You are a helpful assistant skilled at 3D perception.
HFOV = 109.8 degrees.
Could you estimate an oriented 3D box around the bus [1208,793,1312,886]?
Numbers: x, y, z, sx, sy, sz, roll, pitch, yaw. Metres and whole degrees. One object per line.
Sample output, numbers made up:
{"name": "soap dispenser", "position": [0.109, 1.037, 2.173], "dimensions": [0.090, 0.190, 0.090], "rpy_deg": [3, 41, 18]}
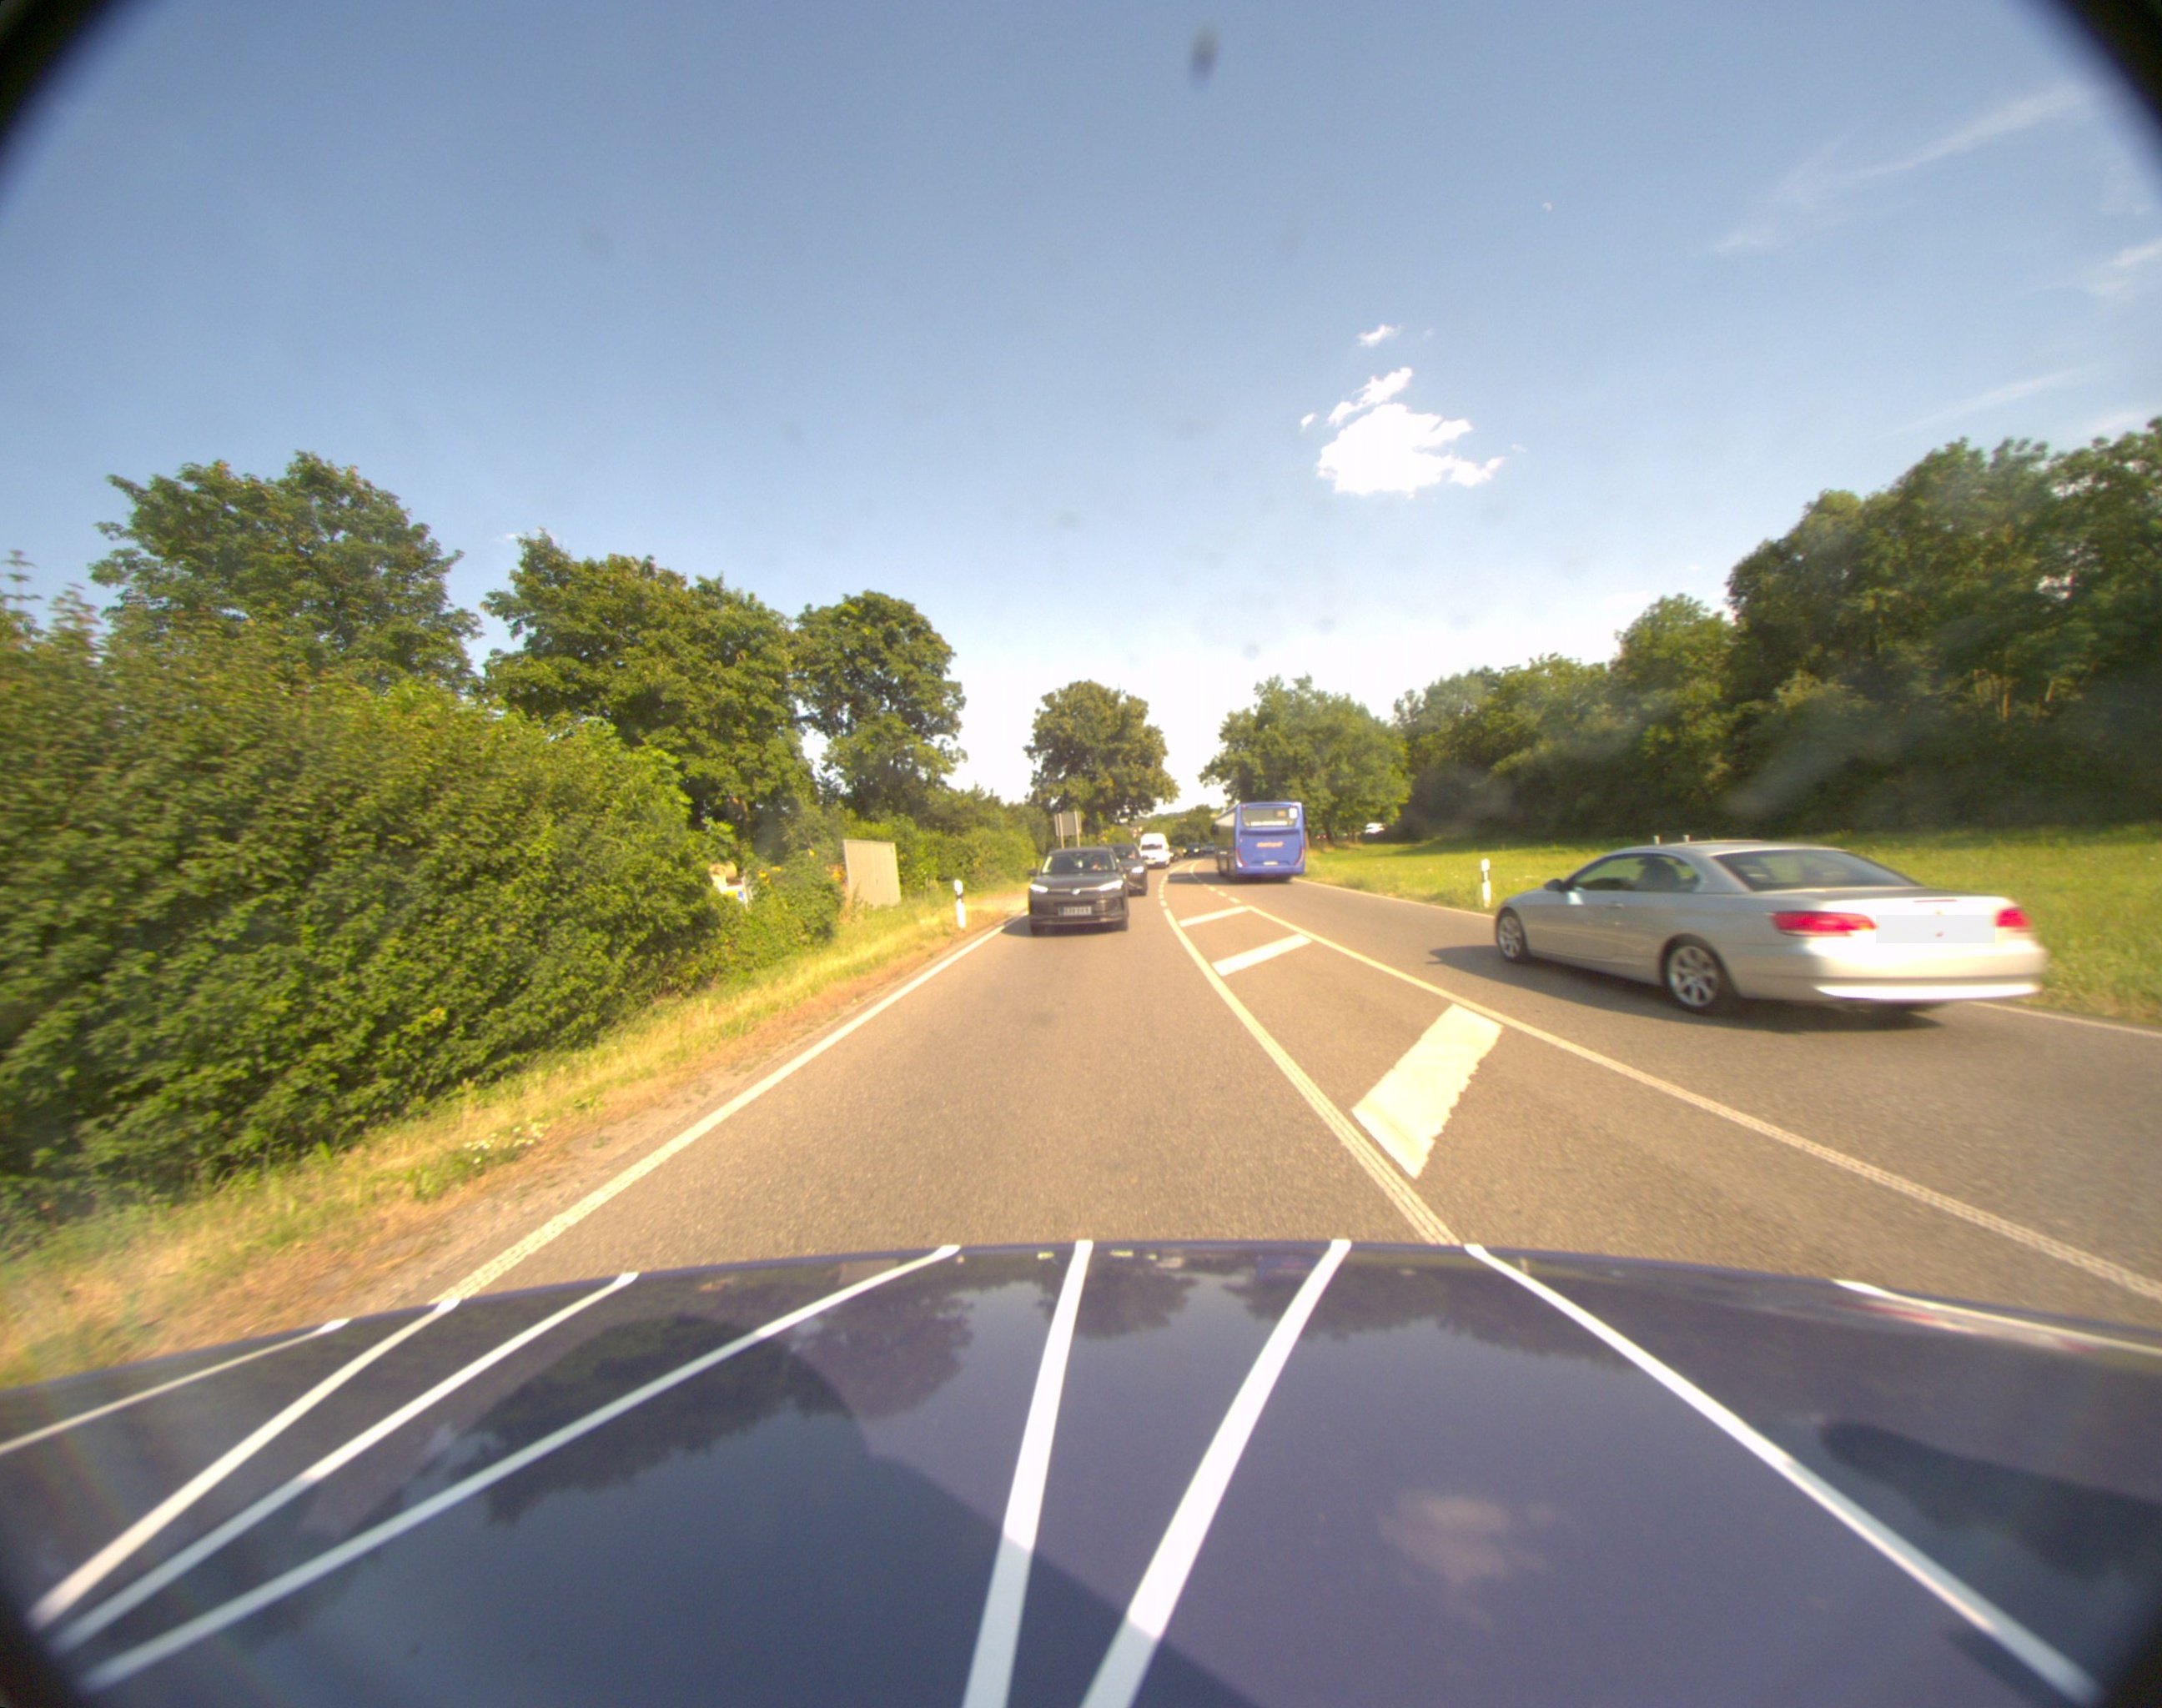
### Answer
{"name": "bus", "position": [7.395, -0.677, 33.173], "dimensions": [2.800, 3.163, 12.128], "rpy_deg": [-3, 1, 6]}

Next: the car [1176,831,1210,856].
{"name": "car", "position": [12.012, -1.169, 81.231], "dimensions": [2.085, 2.403, 5.149], "rpy_deg": [-3, 2, 25]}

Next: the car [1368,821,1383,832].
{"name": "car", "position": [73.577, -6.882, 189.944], "dimensions": [2.084, 2.403, 5.151], "rpy_deg": [-2, 2, 37]}

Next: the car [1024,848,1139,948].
{"name": "car", "position": [0.182, 0.755, 15.570], "dimensions": [1.922, 1.612, 4.702], "rpy_deg": [-3, 1, 4]}

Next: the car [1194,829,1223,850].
{"name": "car", "position": [15.655, -1.820, 93.410], "dimensions": [2.085, 2.403, 5.149], "rpy_deg": [-3, 2, 25]}

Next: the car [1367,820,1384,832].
{"name": "car", "position": [65.708, -6.348, 169.328], "dimensions": [2.084, 2.403, 5.151], "rpy_deg": [-2, 2, 37]}

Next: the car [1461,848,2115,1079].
{"name": "car", "position": [5.601, 0.668, 7.110], "dimensions": [1.704, 1.326, 4.748], "rpy_deg": [-3, 1, 0]}

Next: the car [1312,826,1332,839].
{"name": "car", "position": [48.676, -4.379, 153.501], "dimensions": [2.084, 2.403, 5.151], "rpy_deg": [-2, 2, 37]}

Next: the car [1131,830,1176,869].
{"name": "car", "position": [4.979, -0.363, 51.252], "dimensions": [2.086, 2.403, 5.146], "rpy_deg": [-3, 2, 15]}

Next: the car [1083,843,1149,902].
{"name": "car", "position": [1.248, 0.531, 25.646], "dimensions": [1.922, 1.719, 4.702], "rpy_deg": [-3, 1, 4]}
